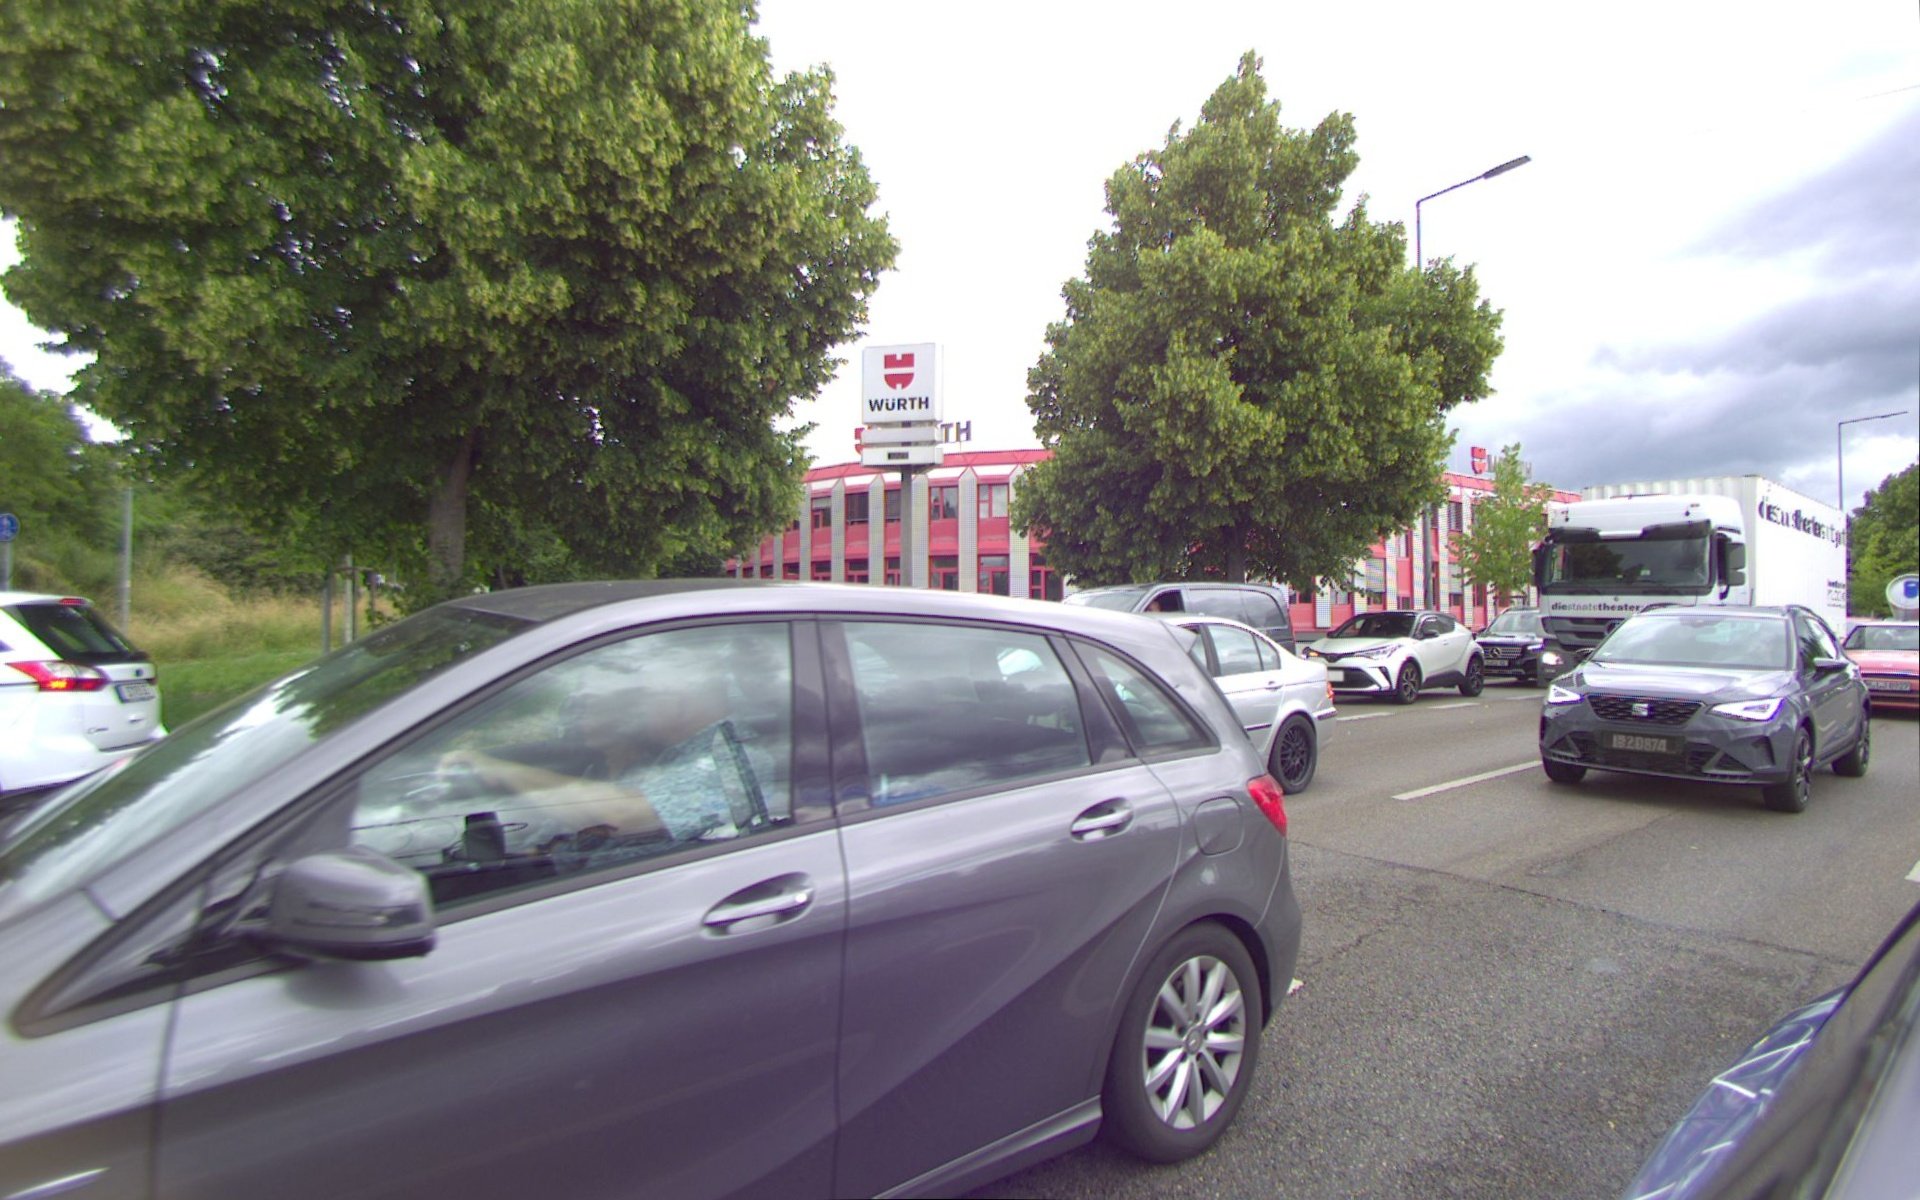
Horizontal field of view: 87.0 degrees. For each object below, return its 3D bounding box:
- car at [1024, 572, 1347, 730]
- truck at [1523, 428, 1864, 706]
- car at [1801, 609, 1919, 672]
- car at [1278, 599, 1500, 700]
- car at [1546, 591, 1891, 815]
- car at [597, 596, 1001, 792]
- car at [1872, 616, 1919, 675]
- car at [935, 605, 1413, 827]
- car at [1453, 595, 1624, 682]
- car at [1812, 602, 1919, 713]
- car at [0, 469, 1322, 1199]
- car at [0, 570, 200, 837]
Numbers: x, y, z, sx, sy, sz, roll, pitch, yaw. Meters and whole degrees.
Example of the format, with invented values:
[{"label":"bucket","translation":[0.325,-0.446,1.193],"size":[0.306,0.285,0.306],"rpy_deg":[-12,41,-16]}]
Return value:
[{"label":"car","translation":[3.164,0.643,13.681],"size":[4.591,1.798,1.761],"rpy_deg":[0,-4,-40]},{"label":"truck","translation":[13.925,-0.452,18.717],"size":[10.000,3.953,2.808],"rpy_deg":[0,0,-40]},{"label":"car","translation":[24.212,1.041,27.174],"size":[4.299,1.549,1.850],"rpy_deg":[1,-1,-41]},{"label":"car","translation":[7.398,0.802,17.318],"size":[4.034,1.536,1.842],"rpy_deg":[0,-4,-41]},{"label":"car","translation":[6.629,0.724,8.705],"size":[3.769,1.512,1.627],"rpy_deg":[1,-1,-41]},{"label":"car","translation":[-1.483,0.744,9.732],"size":[3.495,1.525,1.608],"rpy_deg":[-1,0,-34]},{"label":"car","translation":[28.459,1.313,29.729],"size":[4.141,1.549,1.798],"rpy_deg":[-1,0,-38]},{"label":"car","translation":[1.967,0.747,8.484],"size":[4.215,1.400,1.749],"rpy_deg":[0,0,-41]},{"label":"car","translation":[12.383,0.807,21.578],"size":[4.133,1.679,1.863],"rpy_deg":[1,-3,-41]},{"label":"car","translation":[14.419,0.807,15.246],"size":[3.431,1.525,1.825],"rpy_deg":[1,0,-39]},{"label":"car","translation":[-1.020,0.617,2.445],"size":[3.974,1.527,1.750],"rpy_deg":[1,-1,-39]},{"label":"car","translation":[-7.871,0.658,6.626],"size":[4.278,1.676,1.767],"rpy_deg":[0,-1,-20]}]
